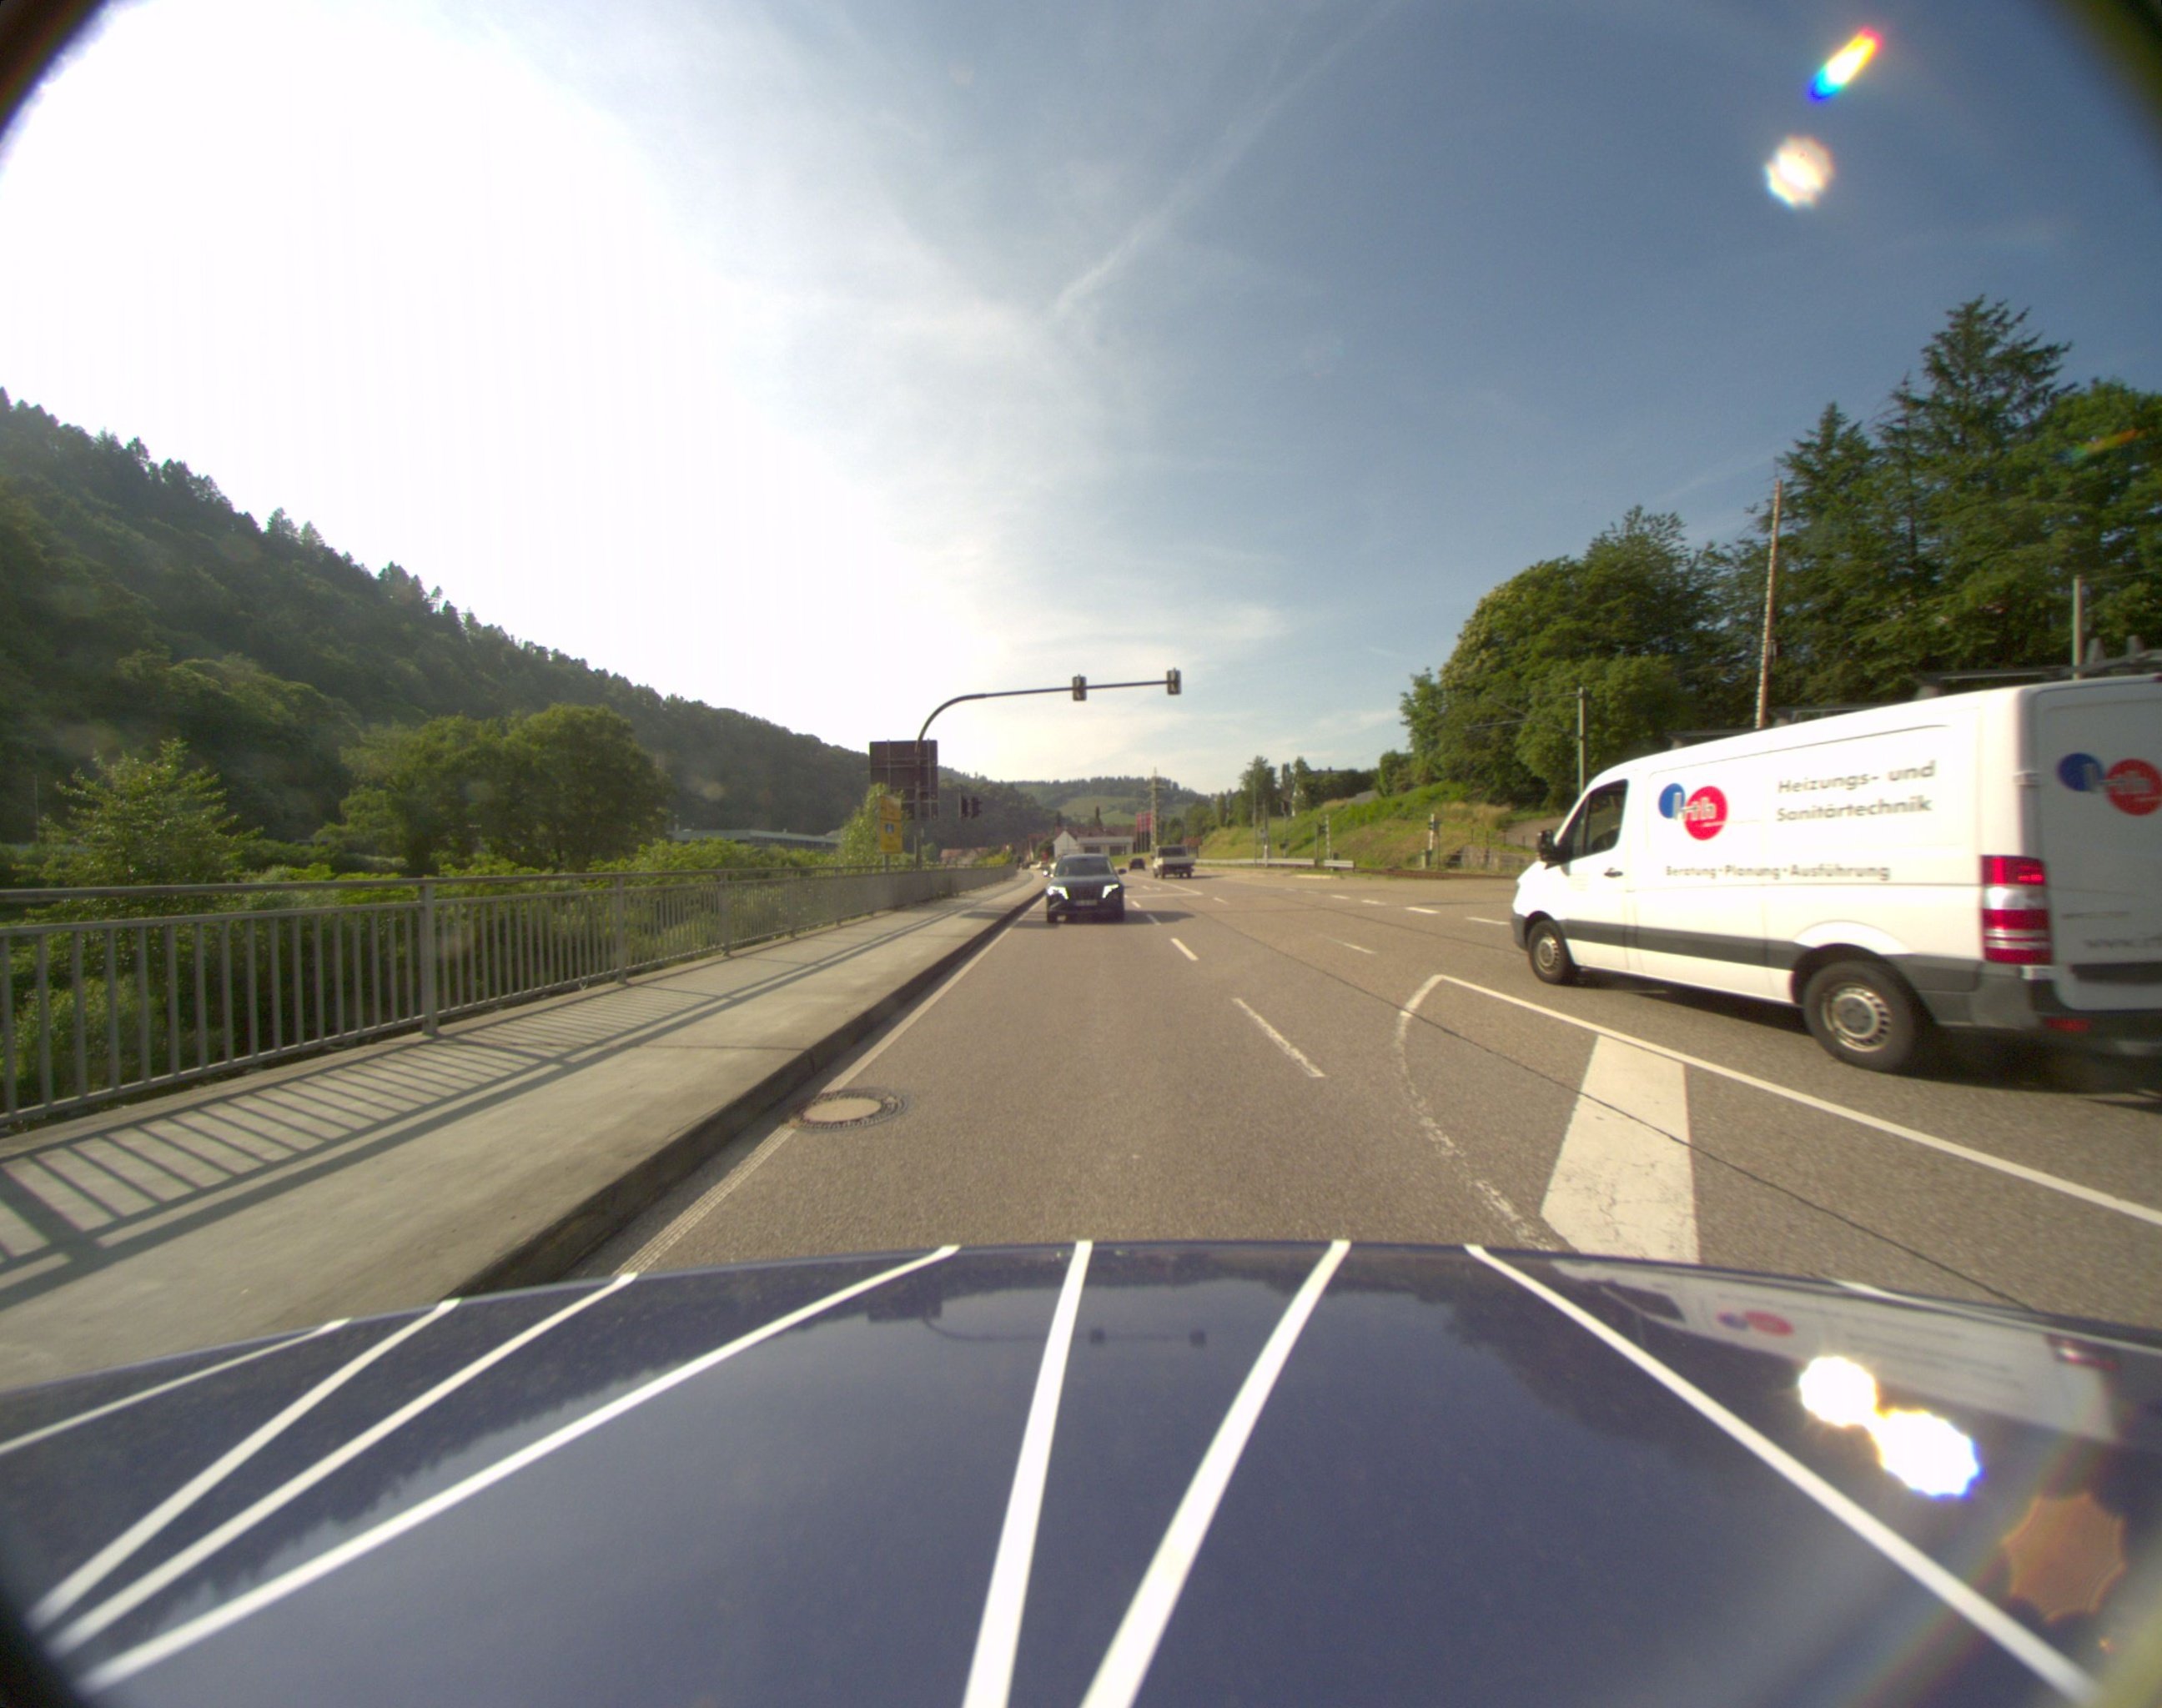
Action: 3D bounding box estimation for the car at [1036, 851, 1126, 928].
[{"bbox_3d":[0.024,0.806,20.128,1.998,1.661,5.510,-2,0,1],"label":"car"}]

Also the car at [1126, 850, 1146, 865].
[{"bbox_3d":[5.938,0.365,82.321,1.691,1.477,3.999,-3,1,-1],"label":"car"}]

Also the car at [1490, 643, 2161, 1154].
[{"bbox_3d":[5.833,0.174,6.230,2.125,2.422,5.227,-2,0,1],"label":"car"}]

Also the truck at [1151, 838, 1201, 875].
[{"bbox_3d":[6.252,0.147,50.940,2.453,2.253,6.279,-2,0,-1],"label":"truck"}]

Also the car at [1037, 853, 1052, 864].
[{"bbox_3d":[-7.093,0.847,147.825,2.001,2.002,3.994,-4,1,-17],"label":"car"}]

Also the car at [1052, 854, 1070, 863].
[{"bbox_3d":[-3.559,0.763,136.152,2.001,1.434,3.994,-4,1,-18],"label":"car"}]

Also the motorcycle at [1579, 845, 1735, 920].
[{"bbox_3d":[11.191,0.529,14.793,2.594,1.261,1.004,-3,1,-15],"label":"motorcycle"}]
